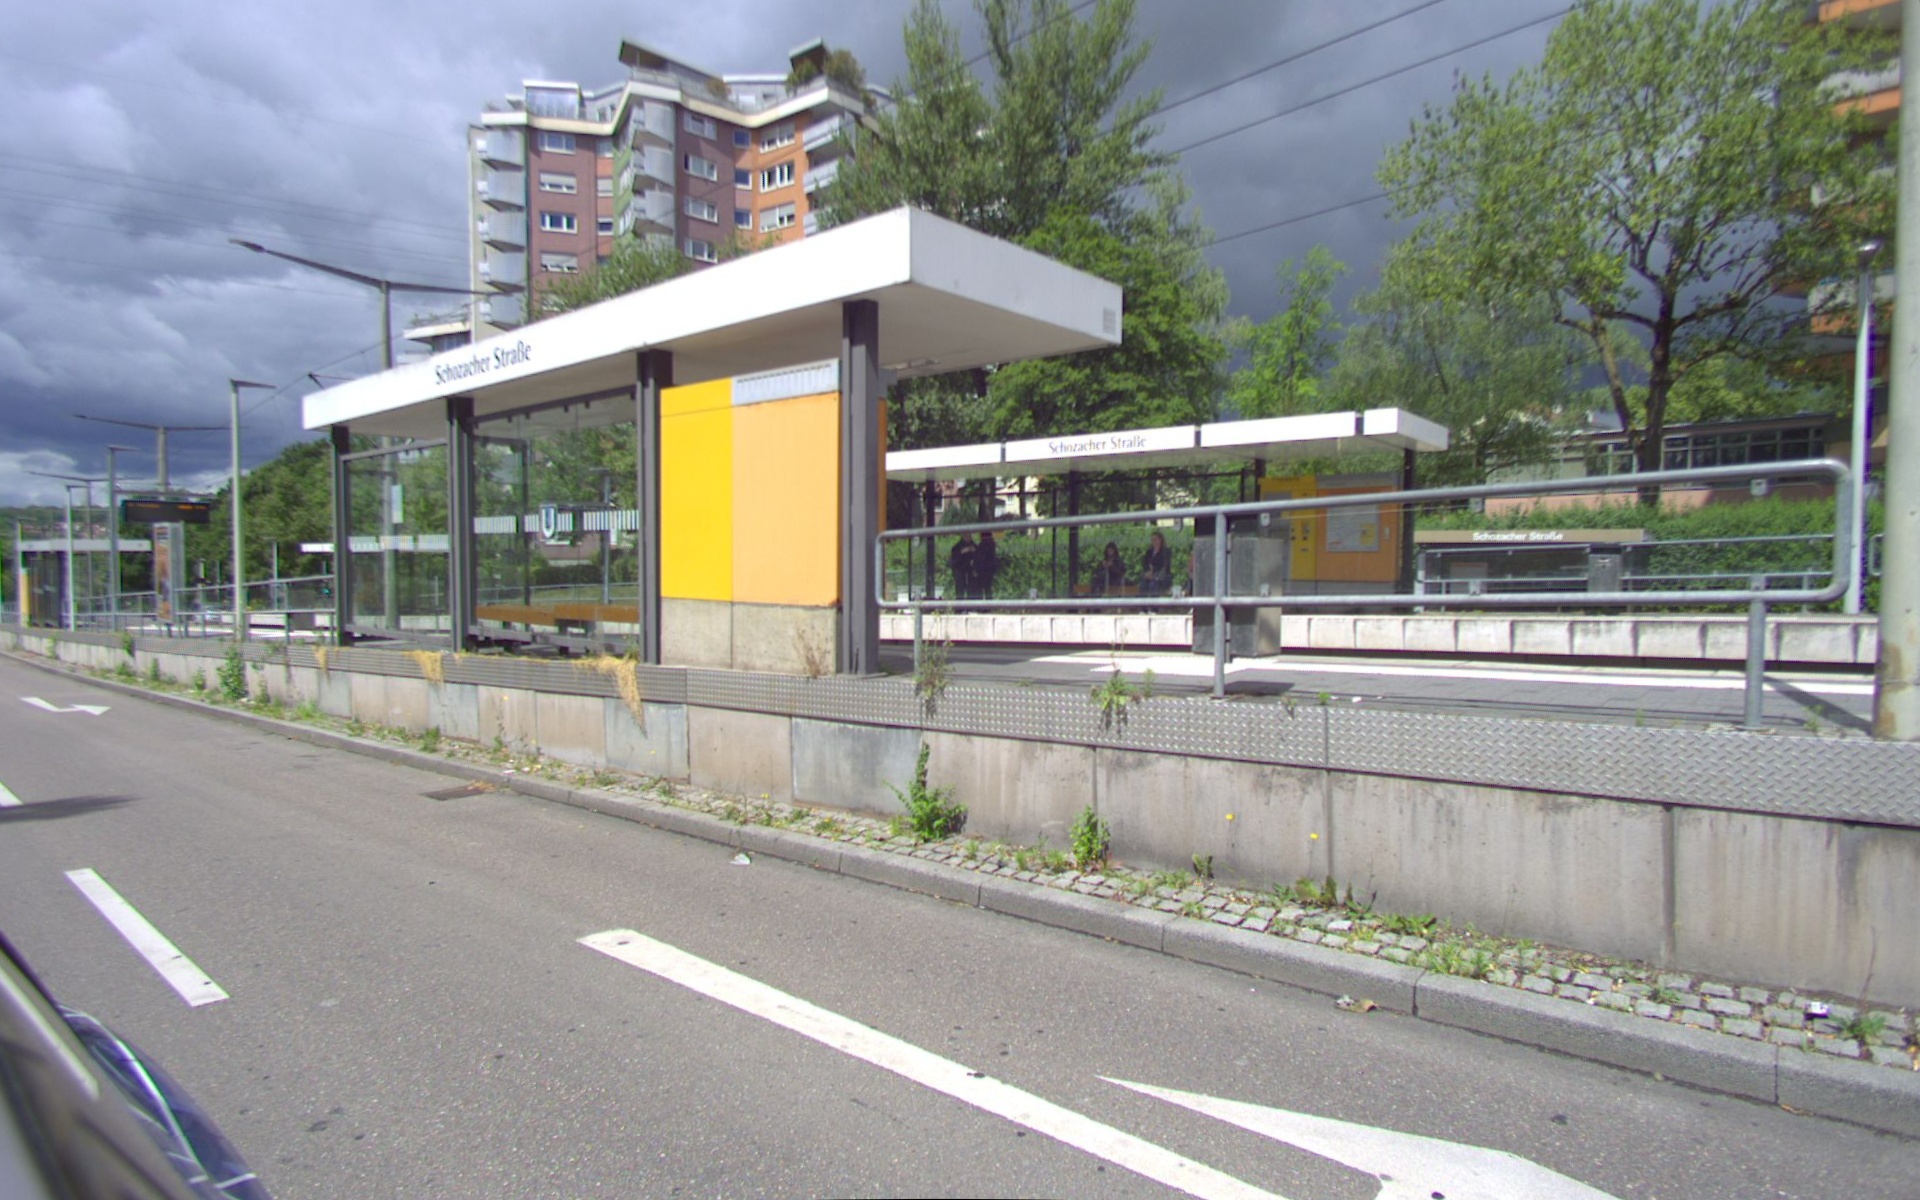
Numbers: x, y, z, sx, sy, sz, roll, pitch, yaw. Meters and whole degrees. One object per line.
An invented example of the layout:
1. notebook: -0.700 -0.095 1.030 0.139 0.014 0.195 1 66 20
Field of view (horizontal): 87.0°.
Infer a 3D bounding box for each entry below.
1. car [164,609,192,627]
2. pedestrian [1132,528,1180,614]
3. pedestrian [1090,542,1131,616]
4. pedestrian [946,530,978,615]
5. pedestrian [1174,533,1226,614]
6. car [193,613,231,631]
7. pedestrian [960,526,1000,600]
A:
1. car: -71.557 1.636 92.606 1.635 1.524 3.740 -1 0 -45
2. pedestrian: 3.235 -0.463 16.692 0.506 1.379 0.637 -1 -1 41
3. pedestrian: 2.587 -0.352 17.355 0.541 1.246 0.516 -1 0 29
4. pedestrian: 0.039 -0.529 19.894 0.558 1.657 0.520 -1 0 9
5. pedestrian: 3.828 -0.408 16.116 0.517 1.246 0.734 -1 0 41
6. car: -59.777 1.752 80.865 3.999 1.429 1.637 -1 0 42
7. pedestrian: 0.381 -0.713 19.380 0.520 1.390 0.537 2 1 33
